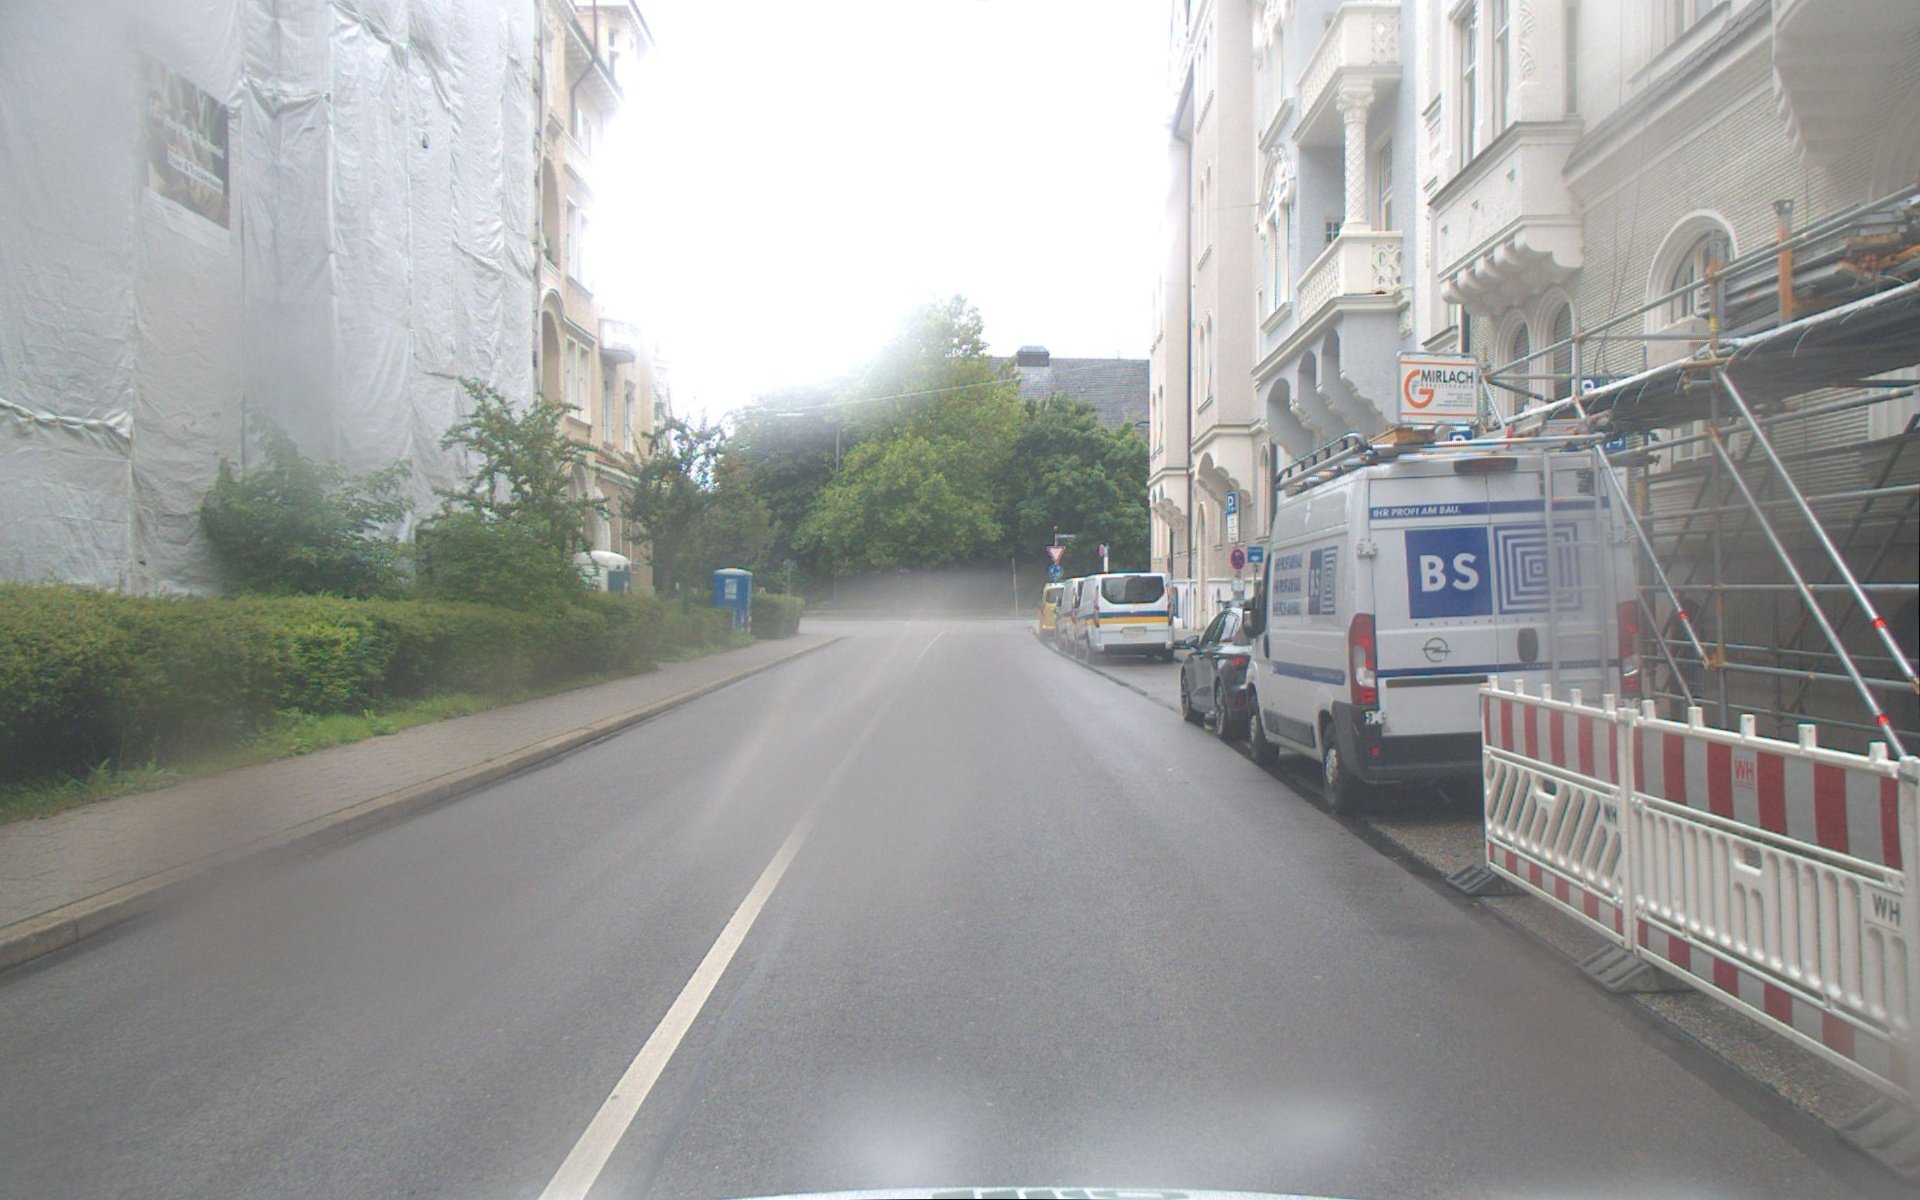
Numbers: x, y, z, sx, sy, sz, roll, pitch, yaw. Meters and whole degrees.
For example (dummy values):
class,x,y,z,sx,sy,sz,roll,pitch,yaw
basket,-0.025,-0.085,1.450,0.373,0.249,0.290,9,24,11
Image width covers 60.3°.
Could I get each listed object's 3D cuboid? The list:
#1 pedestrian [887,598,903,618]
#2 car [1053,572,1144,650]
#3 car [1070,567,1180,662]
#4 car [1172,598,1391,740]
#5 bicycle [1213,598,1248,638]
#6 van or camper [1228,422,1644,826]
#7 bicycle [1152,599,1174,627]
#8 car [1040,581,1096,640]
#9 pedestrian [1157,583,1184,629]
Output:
class,x,y,z,sx,sy,sz,roll,pitch,yaw
pedestrian,-3.800,0.470,96.890,0.794,1.209,0.920,0,0,6
car,3.658,0.261,44.529,1.919,1.971,4.992,-1,0,-1
car,3.745,0.308,38.393,1.919,2.049,4.992,-1,0,-1
car,3.640,0.721,19.429,1.718,1.459,4.086,-1,0,-1
bicycle,7.884,0.521,48.236,0.680,1.113,2.037,-2,0,1
van or camper,3.611,0.153,13.747,1.913,2.683,5.458,0,0,0
bicycle,8.617,0.545,70.179,0.680,1.113,2.283,-2,0,1
car,3.625,0.319,55.796,1.811,1.885,4.823,0,0,3
pedestrian,8.501,0.238,66.702,0.688,1.767,0.724,-1,-3,-44
